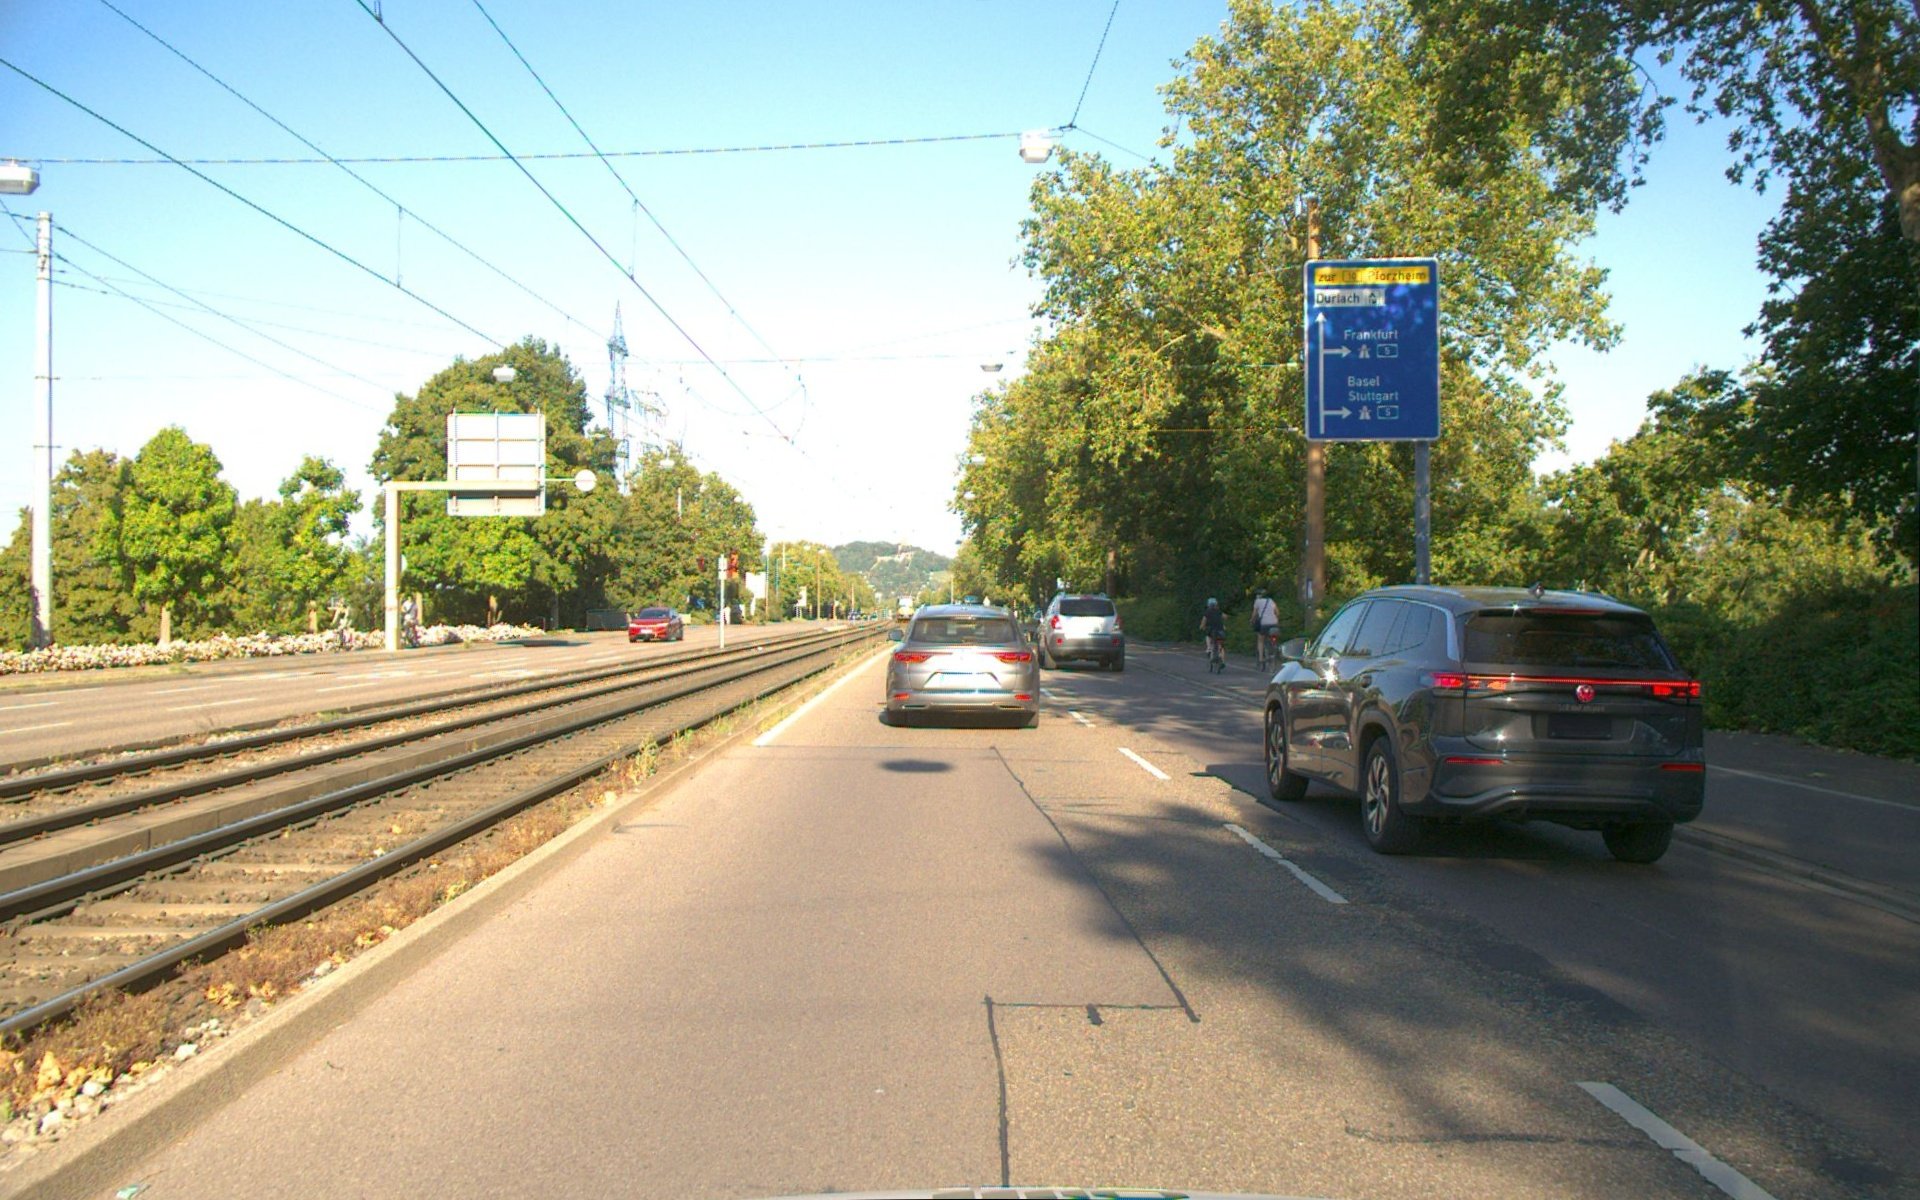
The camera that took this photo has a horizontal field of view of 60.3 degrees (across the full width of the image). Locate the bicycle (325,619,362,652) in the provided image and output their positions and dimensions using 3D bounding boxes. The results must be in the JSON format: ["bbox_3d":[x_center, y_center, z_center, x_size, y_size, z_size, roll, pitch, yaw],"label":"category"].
[{"bbox_3d":[-21.068,1.199,56.563,0.612,1.077,1.703,2,0,-1],"label":"bicycle"}]

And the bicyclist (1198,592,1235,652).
[{"bbox_3d":[5.494,0.470,35.448,0.628,1.247,0.890,-2,0,-1],"label":"bicyclist"}]

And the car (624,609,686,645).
[{"bbox_3d":[-13.966,1.219,75.947,1.998,1.529,4.887,0,0,0],"label":"car"}]

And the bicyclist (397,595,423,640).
[{"bbox_3d":[-20.925,0.648,62.930,0.590,1.688,0.963,2,0,2],"label":"bicyclist"}]

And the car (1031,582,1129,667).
[{"bbox_3d":[2.760,0.530,38.811,1.845,1.827,3.999,2,0,-2],"label":"car"}]

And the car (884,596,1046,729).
[{"bbox_3d":[0.039,0.709,21.056,1.828,1.493,4.665,0,0,0],"label":"car"}]

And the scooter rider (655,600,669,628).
[{"bbox_3d":[-20.442,0.937,113.507,0.667,1.881,1.001,-1,0,7],"label":"scooter rider"}]

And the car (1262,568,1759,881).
[{"bbox_3d":[3.449,0.688,11.347,1.807,1.690,4.438,1,0,-2],"label":"car"}]

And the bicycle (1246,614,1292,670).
[{"bbox_3d":[6.614,0.882,35.497,0.609,1.140,1.812,-1,0,-1],"label":"bicycle"}]

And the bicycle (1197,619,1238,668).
[{"bbox_3d":[5.513,0.926,35.479,0.554,0.991,1.788,-1,0,-1],"label":"bicycle"}]

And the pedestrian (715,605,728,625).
[{"bbox_3d":[-21.401,1.359,148.427,0.709,1.787,0.835,2,-2,21],"label":"pedestrian"}]

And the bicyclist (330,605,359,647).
[{"bbox_3d":[-21.058,0.886,56.595,0.612,1.398,0.880,2,0,-1],"label":"bicyclist"}]

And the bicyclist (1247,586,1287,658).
[{"bbox_3d":[6.586,0.463,35.489,0.671,1.535,0.890,0,0,-1],"label":"bicyclist"}]

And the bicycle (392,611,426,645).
[{"bbox_3d":[-20.942,1.070,62.899,0.590,1.240,1.749,2,0,2],"label":"bicycle"}]

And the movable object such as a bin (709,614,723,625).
[{"bbox_3d":[-21.751,1.726,147.515,0.709,0.978,1.101,2,-2,20],"label":"movable object such as a bin"}]
